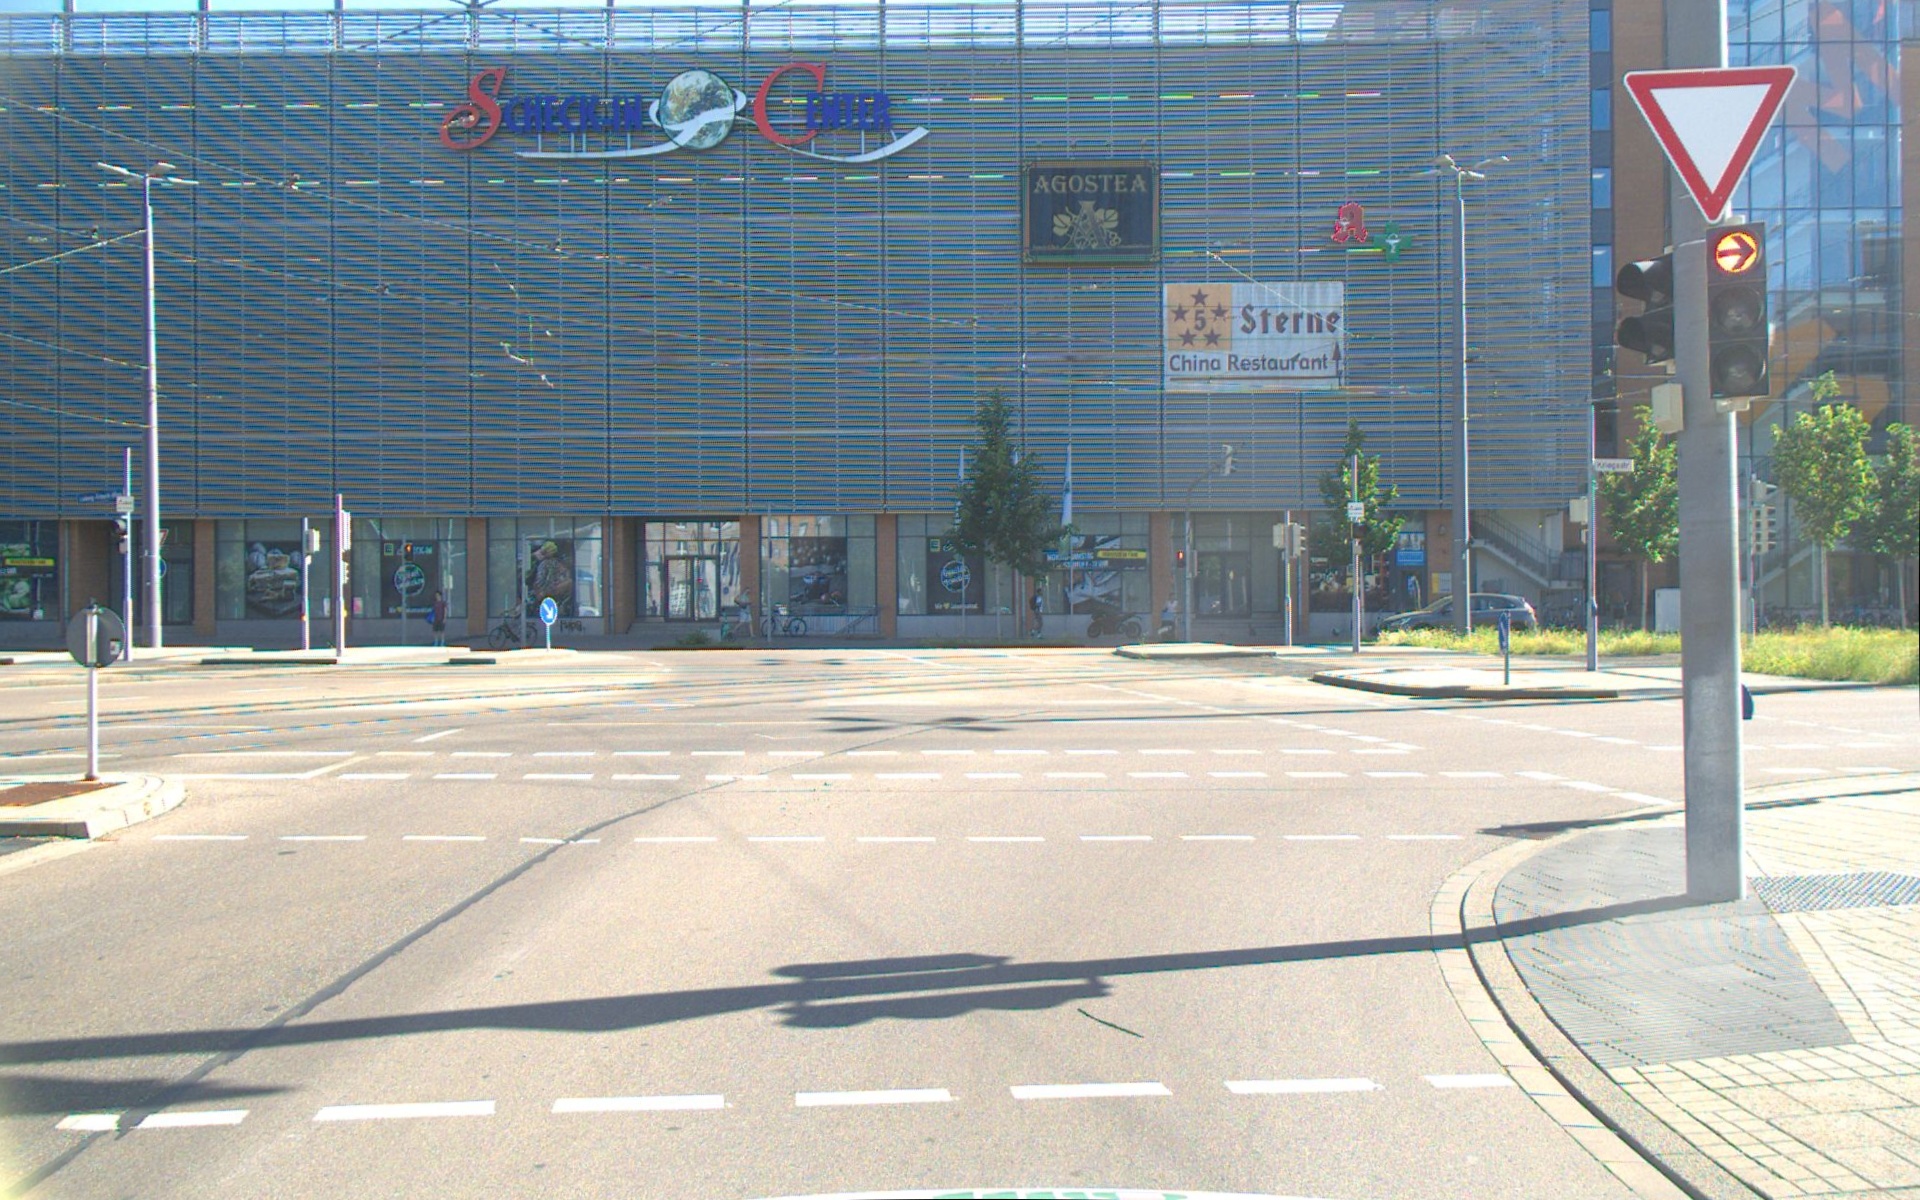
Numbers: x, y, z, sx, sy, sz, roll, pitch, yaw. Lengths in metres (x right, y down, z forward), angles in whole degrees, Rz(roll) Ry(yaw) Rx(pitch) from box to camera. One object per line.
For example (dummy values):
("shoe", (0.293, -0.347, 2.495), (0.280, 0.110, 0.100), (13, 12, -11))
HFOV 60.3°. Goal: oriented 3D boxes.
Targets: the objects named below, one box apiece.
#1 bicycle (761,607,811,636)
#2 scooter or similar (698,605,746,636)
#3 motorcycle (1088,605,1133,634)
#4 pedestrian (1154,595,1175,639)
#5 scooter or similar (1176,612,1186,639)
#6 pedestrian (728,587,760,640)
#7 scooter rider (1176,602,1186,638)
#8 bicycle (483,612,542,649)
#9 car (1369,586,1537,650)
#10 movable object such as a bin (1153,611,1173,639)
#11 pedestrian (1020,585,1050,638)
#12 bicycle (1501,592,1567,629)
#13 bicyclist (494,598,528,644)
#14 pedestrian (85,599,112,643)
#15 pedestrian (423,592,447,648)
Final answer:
("bicycle", (-6.363, 0.775, 60.433), (1.783, 1.006, 0.556), (0, 1, -11))
("scooter or similar", (-8.744, 0.743, 60.780), (1.759, 1.085, 0.611), (0, 1, -9))
("motorcycle", (5.531, 0.726, 60.708), (1.605, 1.022, 0.447), (1, 0, 6))
("pedestrian", (6.859, 0.576, 55.364), (0.641, 1.438, 0.850), (1, 0, 10))
("scooter or similar", (7.368, 0.832, 55.190), (0.288, 0.888, 1.004), (1, 0, 10))
("pedestrian", (-7.750, 0.478, 59.482), (0.930, 1.860, 0.846), (-2, 0, 5))
("scooter rider", (7.362, 0.666, 55.130), (0.282, 1.221, 0.386), (1, -1, 10))
("bicycle", (-14.765, 1.002, 54.619), (0.559, 1.105, 1.852), (0, 2, 42))
("car", (13.672, 0.496, 46.046), (4.063, 1.495, 1.840), (3, -1, -2))
("movable object such as a bin", (6.743, 0.830, 54.897), (0.599, 0.920, 0.970), (1, 0, 10))
("pedestrian", (2.685, 0.410, 59.071), (0.991, 1.860, 1.036), (-2, 0, 3))
("bicycle", (21.291, 0.391, 61.352), (2.209, 1.318, 0.605), (1, -1, -2))
("bicyclist", (-14.797, 0.685, 54.544), (0.663, 1.452, 0.844), (0, 2, 42))
("pedestrian", (-32.301, 0.769, 62.026), (0.646, 1.629, 0.594), (1, -1, 18))
("pedestrian", (-17.336, 0.657, 54.668), (0.683, 1.829, 0.727), (-2, 0, -17))
